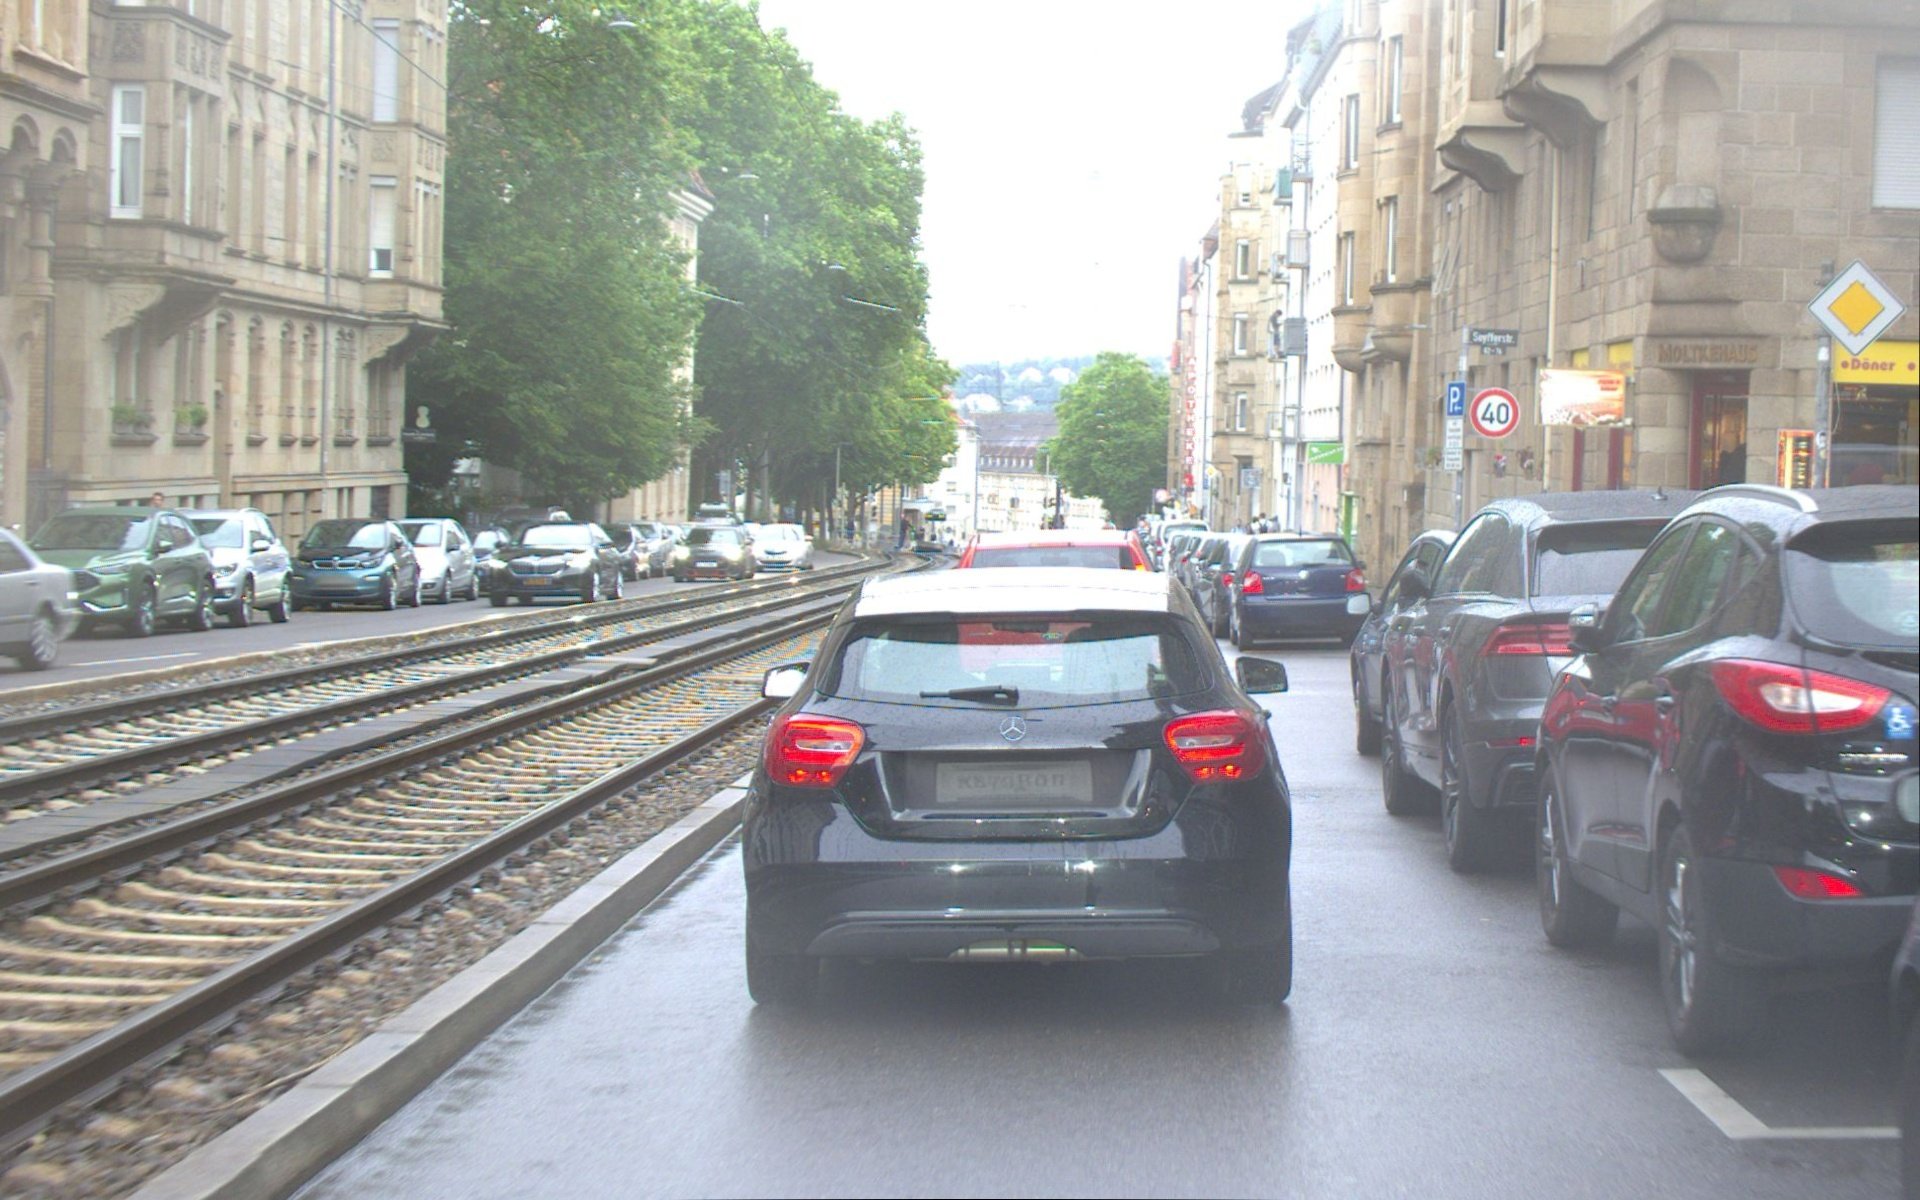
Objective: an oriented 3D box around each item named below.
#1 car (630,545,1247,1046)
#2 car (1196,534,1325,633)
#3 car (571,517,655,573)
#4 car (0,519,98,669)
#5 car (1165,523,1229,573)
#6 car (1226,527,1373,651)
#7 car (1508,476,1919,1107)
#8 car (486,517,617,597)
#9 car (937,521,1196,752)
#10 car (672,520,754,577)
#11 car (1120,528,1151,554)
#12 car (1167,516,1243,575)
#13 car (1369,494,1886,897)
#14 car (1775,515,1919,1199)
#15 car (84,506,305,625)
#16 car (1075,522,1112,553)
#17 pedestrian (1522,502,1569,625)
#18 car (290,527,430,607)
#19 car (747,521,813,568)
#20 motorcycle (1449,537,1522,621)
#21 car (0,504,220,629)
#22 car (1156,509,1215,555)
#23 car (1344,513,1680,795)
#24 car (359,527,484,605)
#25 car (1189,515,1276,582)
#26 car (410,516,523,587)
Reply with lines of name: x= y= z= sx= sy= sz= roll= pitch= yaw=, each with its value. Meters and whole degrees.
car: x=0.067 y=0.560 z=12.484 sx=1.867 sy=1.447 sz=4.000 roll=1 pitch=2 yaw=4
car: x=4.198 y=-0.262 z=48.453 sx=1.613 sy=1.313 sz=4.000 roll=0 pitch=1 yaw=2
car: x=-8.959 y=-1.439 z=88.938 sx=1.569 sy=1.408 sz=3.481 roll=0 pitch=1 yaw=4
car: x=-9.610 y=-0.053 z=31.305 sx=1.807 sy=1.356 sz=4.762 roll=0 pitch=1 yaw=7
car: x=6.350 y=-1.404 z=92.380 sx=1.613 sy=1.313 sz=4.000 roll=0 pitch=1 yaw=2
car: x=4.251 y=-0.172 z=43.442 sx=1.622 sy=1.479 sz=4.000 roll=0 pitch=1 yaw=2
car: x=2.898 y=0.455 z=11.102 sx=1.683 sy=1.664 sz=4.123 roll=0 pitch=1 yaw=1
car: x=-7.237 y=-0.786 z=61.189 sx=1.695 sy=1.384 sz=3.481 roll=0 pitch=1 yaw=4
car: x=0.758 y=0.192 z=24.332 sx=1.649 sy=1.447 sz=4.000 roll=1 pitch=2 yaw=2
car: x=-6.169 y=-1.311 z=86.233 sx=1.569 sy=1.408 sz=3.481 roll=0 pitch=1 yaw=4
car: x=9.139 y=-3.067 z=179.270 sx=1.613 sy=1.313 sz=4.000 roll=0 pitch=1 yaw=2
car: x=5.612 y=-1.267 z=78.979 sx=1.613 sy=1.313 sz=4.000 roll=0 pitch=1 yaw=2
car: x=3.035 y=0.338 z=16.558 sx=1.750 sy=1.664 sz=4.703 roll=0 pitch=1 yaw=2
car: x=2.632 y=0.642 z=5.376 sx=1.765 sy=1.553 sz=4.745 roll=0 pitch=1 yaw=2
car: x=-10.697 y=-0.520 z=48.356 sx=1.806 sy=1.591 sz=4.525 roll=0 pitch=1 yaw=4
car: x=5.816 y=-2.721 z=149.774 sx=1.613 sy=1.313 sz=4.000 roll=0 pitch=1 yaw=2
pedestrian: x=7.052 y=-0.447 z=41.442 sx=0.454 sy=1.461 sz=0.610 roll=1 pitch=1 yaw=2
car: x=-10.268 y=-0.587 z=59.075 sx=1.569 sy=1.312 sz=3.481 roll=0 pitch=1 yaw=4
car: x=-5.392 y=-1.683 z=103.377 sx=1.569 sy=1.408 sz=3.481 roll=0 pitch=1 yaw=4
motorcycle: x=8.486 y=-0.350 z=55.583 sx=0.880 sy=1.311 sz=2.396 roll=1 pitch=1 yaw=2
car: x=-10.890 y=-0.455 z=44.056 sx=1.722 sy=1.536 sz=3.933 roll=0 pitch=1 yaw=4
car: x=6.533 y=-1.985 z=99.770 sx=1.613 sy=1.313 sz=4.000 roll=0 pitch=1 yaw=2
car: x=3.353 y=0.257 z=21.504 sx=1.613 sy=1.599 sz=4.000 roll=0 pitch=1 yaw=2
car: x=-10.025 y=-0.657 z=64.190 sx=1.569 sy=1.408 sz=3.481 roll=0 pitch=1 yaw=4
car: x=5.527 y=-1.062 z=69.961 sx=1.613 sy=1.313 sz=4.000 roll=0 pitch=1 yaw=2
car: x=-10.017 y=-1.000 z=69.930 sx=1.569 sy=1.408 sz=3.481 roll=0 pitch=1 yaw=4
